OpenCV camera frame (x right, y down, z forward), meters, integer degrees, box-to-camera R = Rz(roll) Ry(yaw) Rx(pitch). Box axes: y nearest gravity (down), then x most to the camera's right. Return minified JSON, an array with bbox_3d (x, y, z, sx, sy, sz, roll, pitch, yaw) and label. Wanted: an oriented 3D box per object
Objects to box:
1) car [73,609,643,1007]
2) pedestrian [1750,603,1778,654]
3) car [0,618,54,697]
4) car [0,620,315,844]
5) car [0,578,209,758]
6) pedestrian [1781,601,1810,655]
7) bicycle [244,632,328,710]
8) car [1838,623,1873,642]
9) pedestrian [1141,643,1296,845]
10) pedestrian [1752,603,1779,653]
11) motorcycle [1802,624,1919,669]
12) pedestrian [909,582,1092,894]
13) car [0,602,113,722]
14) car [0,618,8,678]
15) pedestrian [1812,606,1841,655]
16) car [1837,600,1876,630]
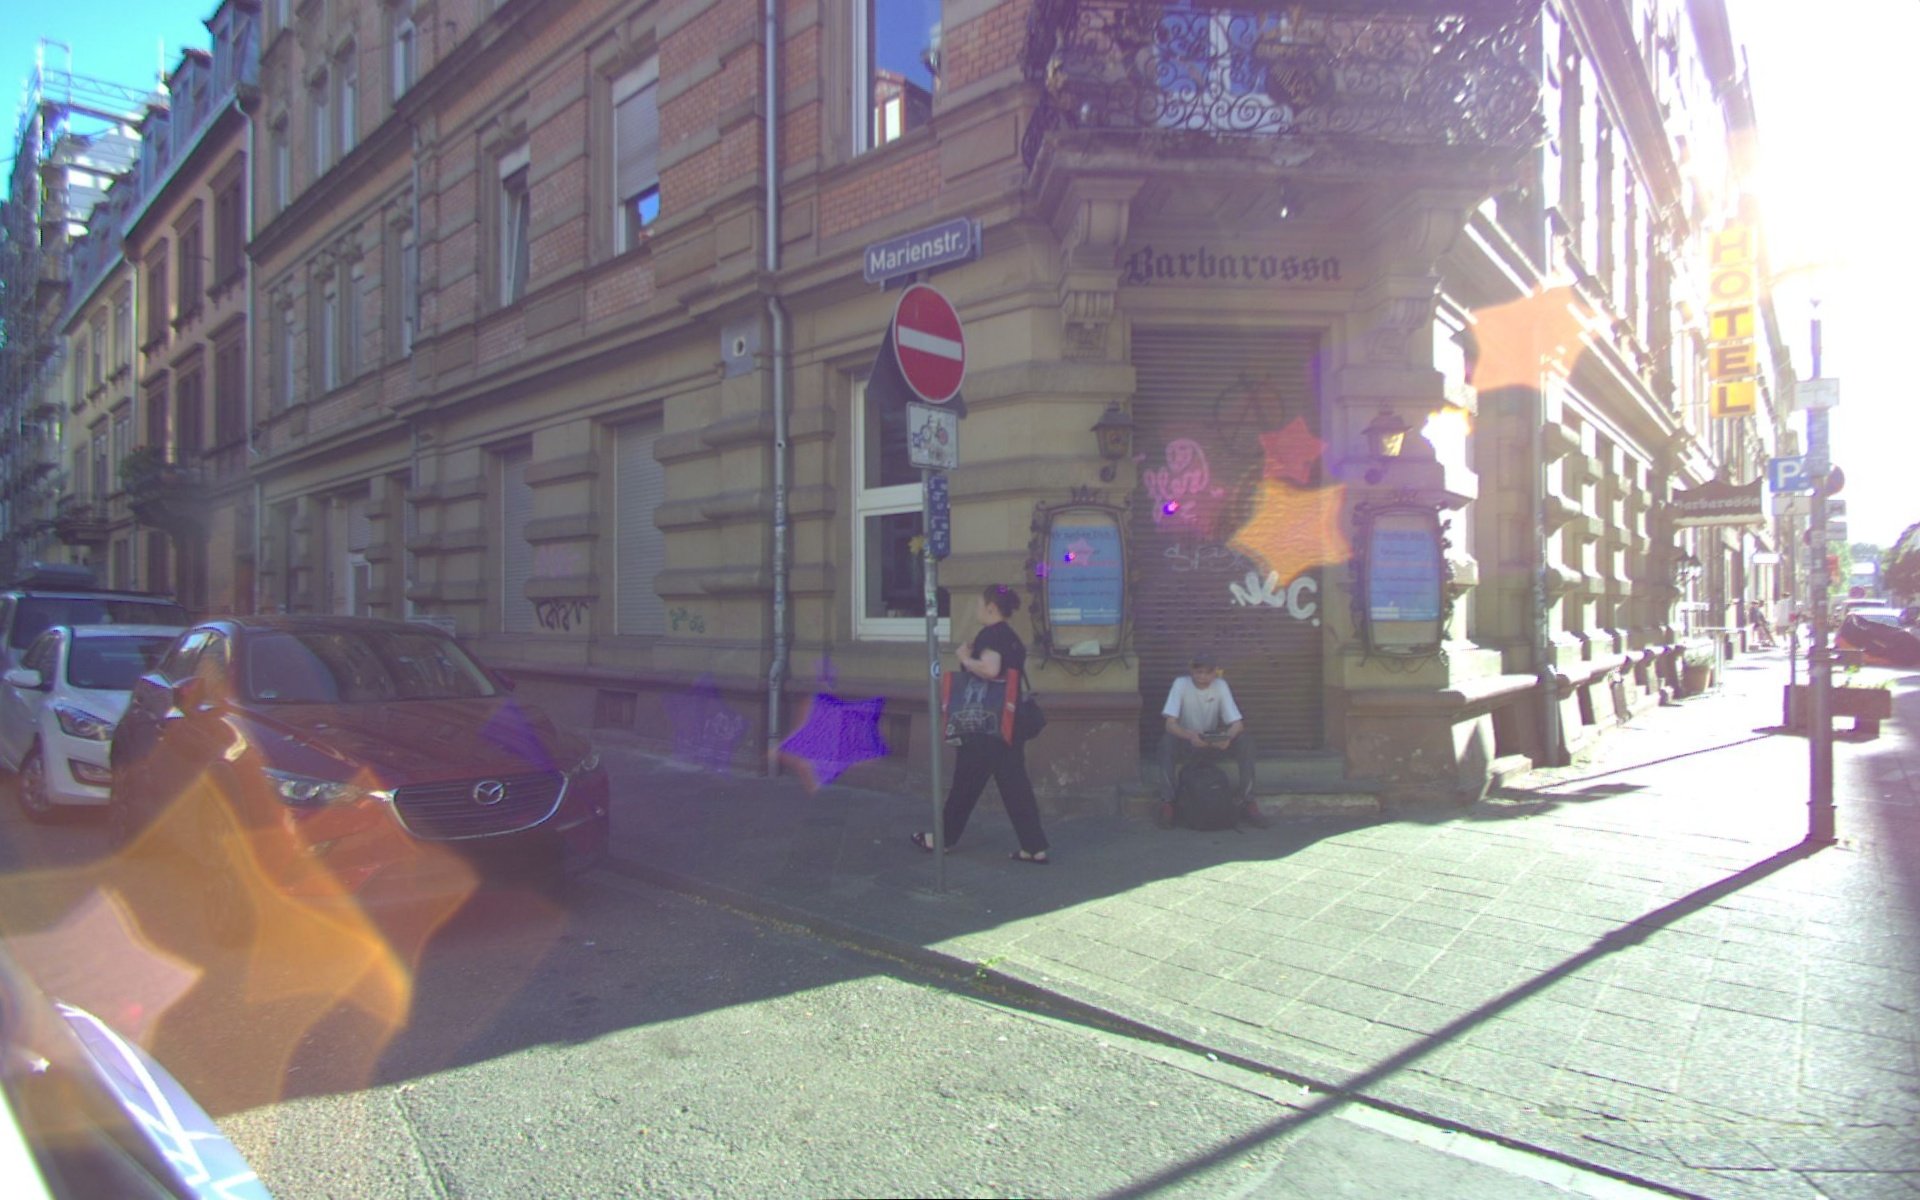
[{"bbox_3d":[-3.720,0.837,5.909,4.088,1.492,1.704,-1,0,42],"label":"car"},{"bbox_3d":[28.874,1.018,36.357,0.723,1.771,0.701,-1,2,42],"label":"pedestrian"},{"bbox_3d":[-18.363,1.050,18.892,3.999,1.323,1.681,-1,2,42],"label":"car"},{"bbox_3d":[-7.123,0.919,8.623,3.871,1.431,1.657,-1,0,40],"label":"car"},{"bbox_3d":[-10.804,0.700,12.257,4.607,1.798,1.872,-1,0,42],"label":"car"},{"bbox_3d":[28.425,0.939,34.426,0.711,1.771,0.714,-1,2,41],"label":"pedestrian"},{"bbox_3d":[-10.717,1.096,16.066,1.784,1.133,0.660,-2,1,42],"label":"bicycle"},{"bbox_3d":[56.437,2.031,63.828,1.382,1.172,3.284,-1,-2,37],"label":"car"},{"bbox_3d":[1.680,0.901,6.651,0.657,1.186,0.750,-1,0,-19],"label":"pedestrian"},{"bbox_3d":[29.484,1.031,37.023,0.723,1.771,0.701,-1,2,41],"label":"pedestrian"},{"bbox_3d":[24.536,1.225,26.859,1.313,1.070,3.067,1,0,-25],"label":"motorcycle"},{"bbox_3d":[0.228,0.705,5.660,0.759,1.592,0.660,-1,0,40],"label":"pedestrian"},{"bbox_3d":[-14.738,0.890,15.750,4.607,1.636,1.769,-1,0,42],"label":"car"},{"bbox_3d":[-24.817,1.140,24.847,3.998,1.430,1.656,-1,-3,41],"label":"car"},{"bbox_3d":[29.494,1.028,34.446,0.711,1.578,0.714,-1,2,41],"label":"pedestrian"},{"bbox_3d":[66.049,1.091,74.585,2.053,2.120,4.578,-1,0,41],"label":"car"}]
